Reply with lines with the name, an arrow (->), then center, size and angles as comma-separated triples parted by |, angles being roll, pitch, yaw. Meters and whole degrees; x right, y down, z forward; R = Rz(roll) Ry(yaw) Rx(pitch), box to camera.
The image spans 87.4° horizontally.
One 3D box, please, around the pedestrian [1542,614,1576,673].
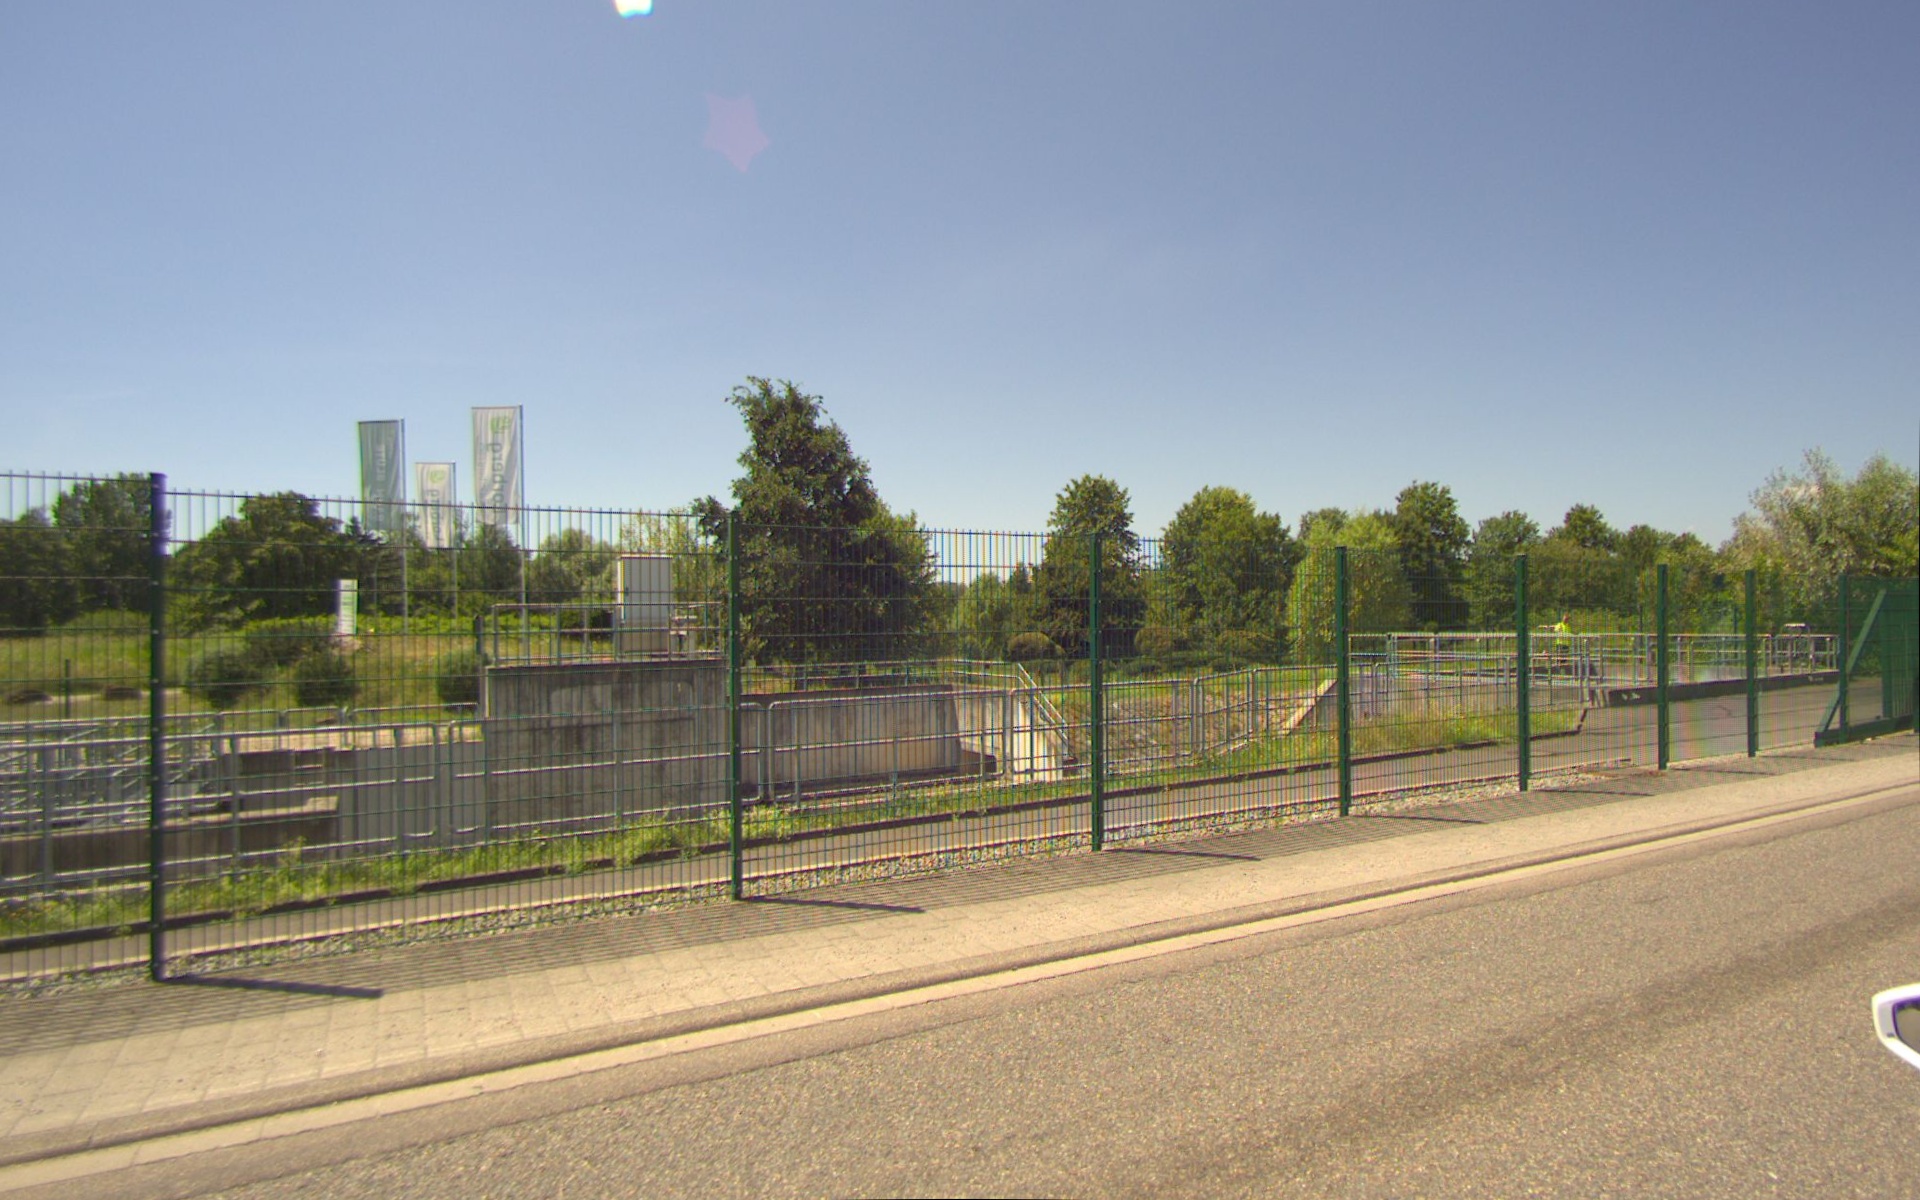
pedestrian -> 19.194, 1.390, 32.170 | 0.796, 1.863, 0.602 | 1, -3, -31
